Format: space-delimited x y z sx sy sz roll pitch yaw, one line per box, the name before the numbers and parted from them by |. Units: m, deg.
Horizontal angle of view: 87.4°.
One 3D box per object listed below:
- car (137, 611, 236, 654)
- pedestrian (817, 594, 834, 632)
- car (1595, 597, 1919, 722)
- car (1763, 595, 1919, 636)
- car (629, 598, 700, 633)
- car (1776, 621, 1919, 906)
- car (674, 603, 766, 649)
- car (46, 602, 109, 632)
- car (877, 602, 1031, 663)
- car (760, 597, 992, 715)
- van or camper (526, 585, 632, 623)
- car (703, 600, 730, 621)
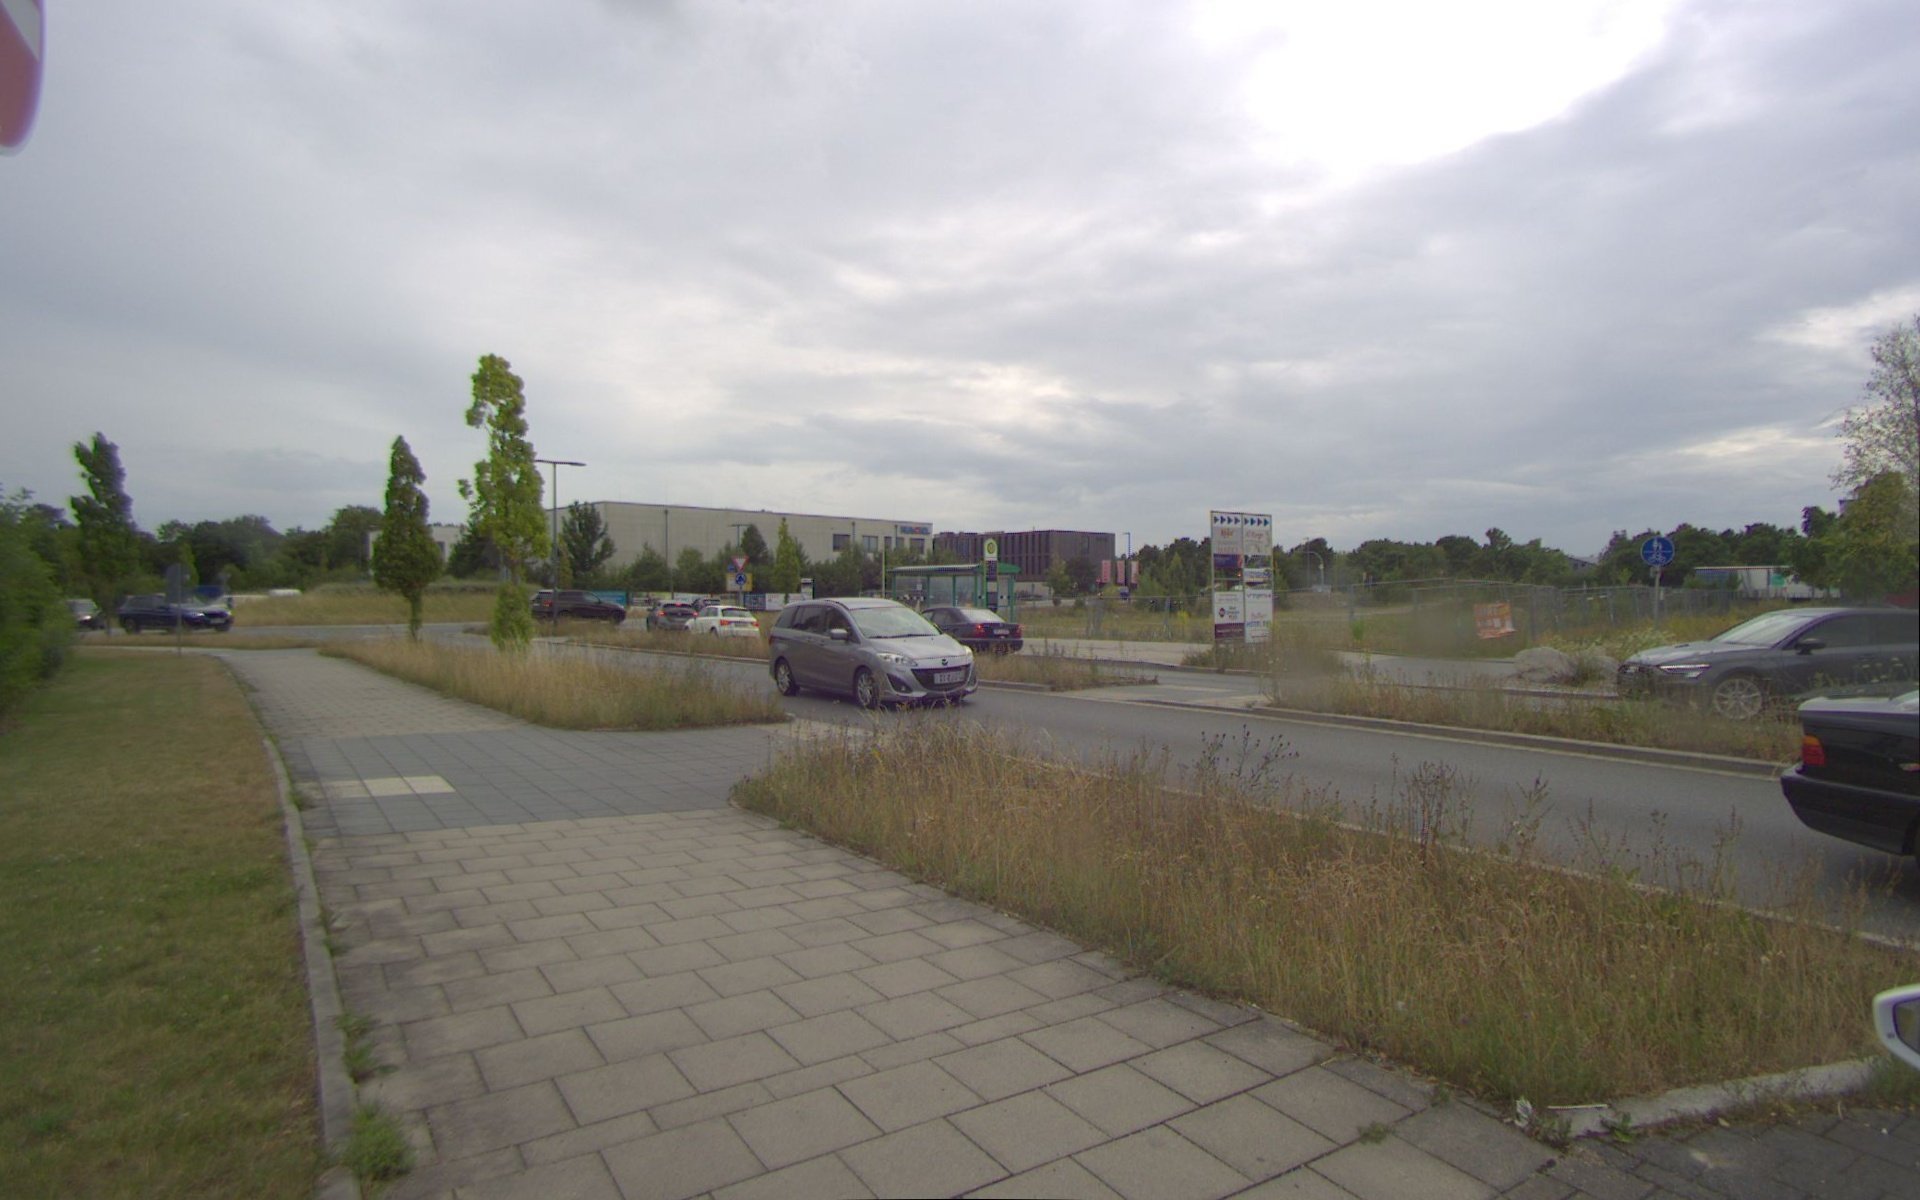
car | -32.686 1.340 42.424 3.927 1.662 1.891 0 1 29
pedestrian | -6.197 0.579 46.358 0.729 1.745 0.650 1 1 -3
car | 11.082 0.727 13.222 4.233 1.486 1.798 0 1 8
car | 37.307 0.611 42.469 1.983 1.578 4.966 0 1 -39
car | -12.884 0.644 43.646 1.702 1.361 4.022 0 1 -36
car | 6.434 0.856 4.304 1.741 1.405 4.260 0 1 -34
car | -8.874 0.919 36.957 1.743 1.500 4.010 0 1 -39
car | -42.174 0.783 48.052 1.541 1.372 3.268 0 0 -29
car | -0.247 0.798 26.143 1.774 1.414 4.325 1 0 -37
car | -1.492 0.767 16.156 1.802 1.584 4.359 -2 1 -34
van or camper | -18.818 0.202 49.768 1.972 1.772 4.546 2 1 43
car | -16.609 0.694 68.462 1.689 1.361 3.952 0 1 -14
